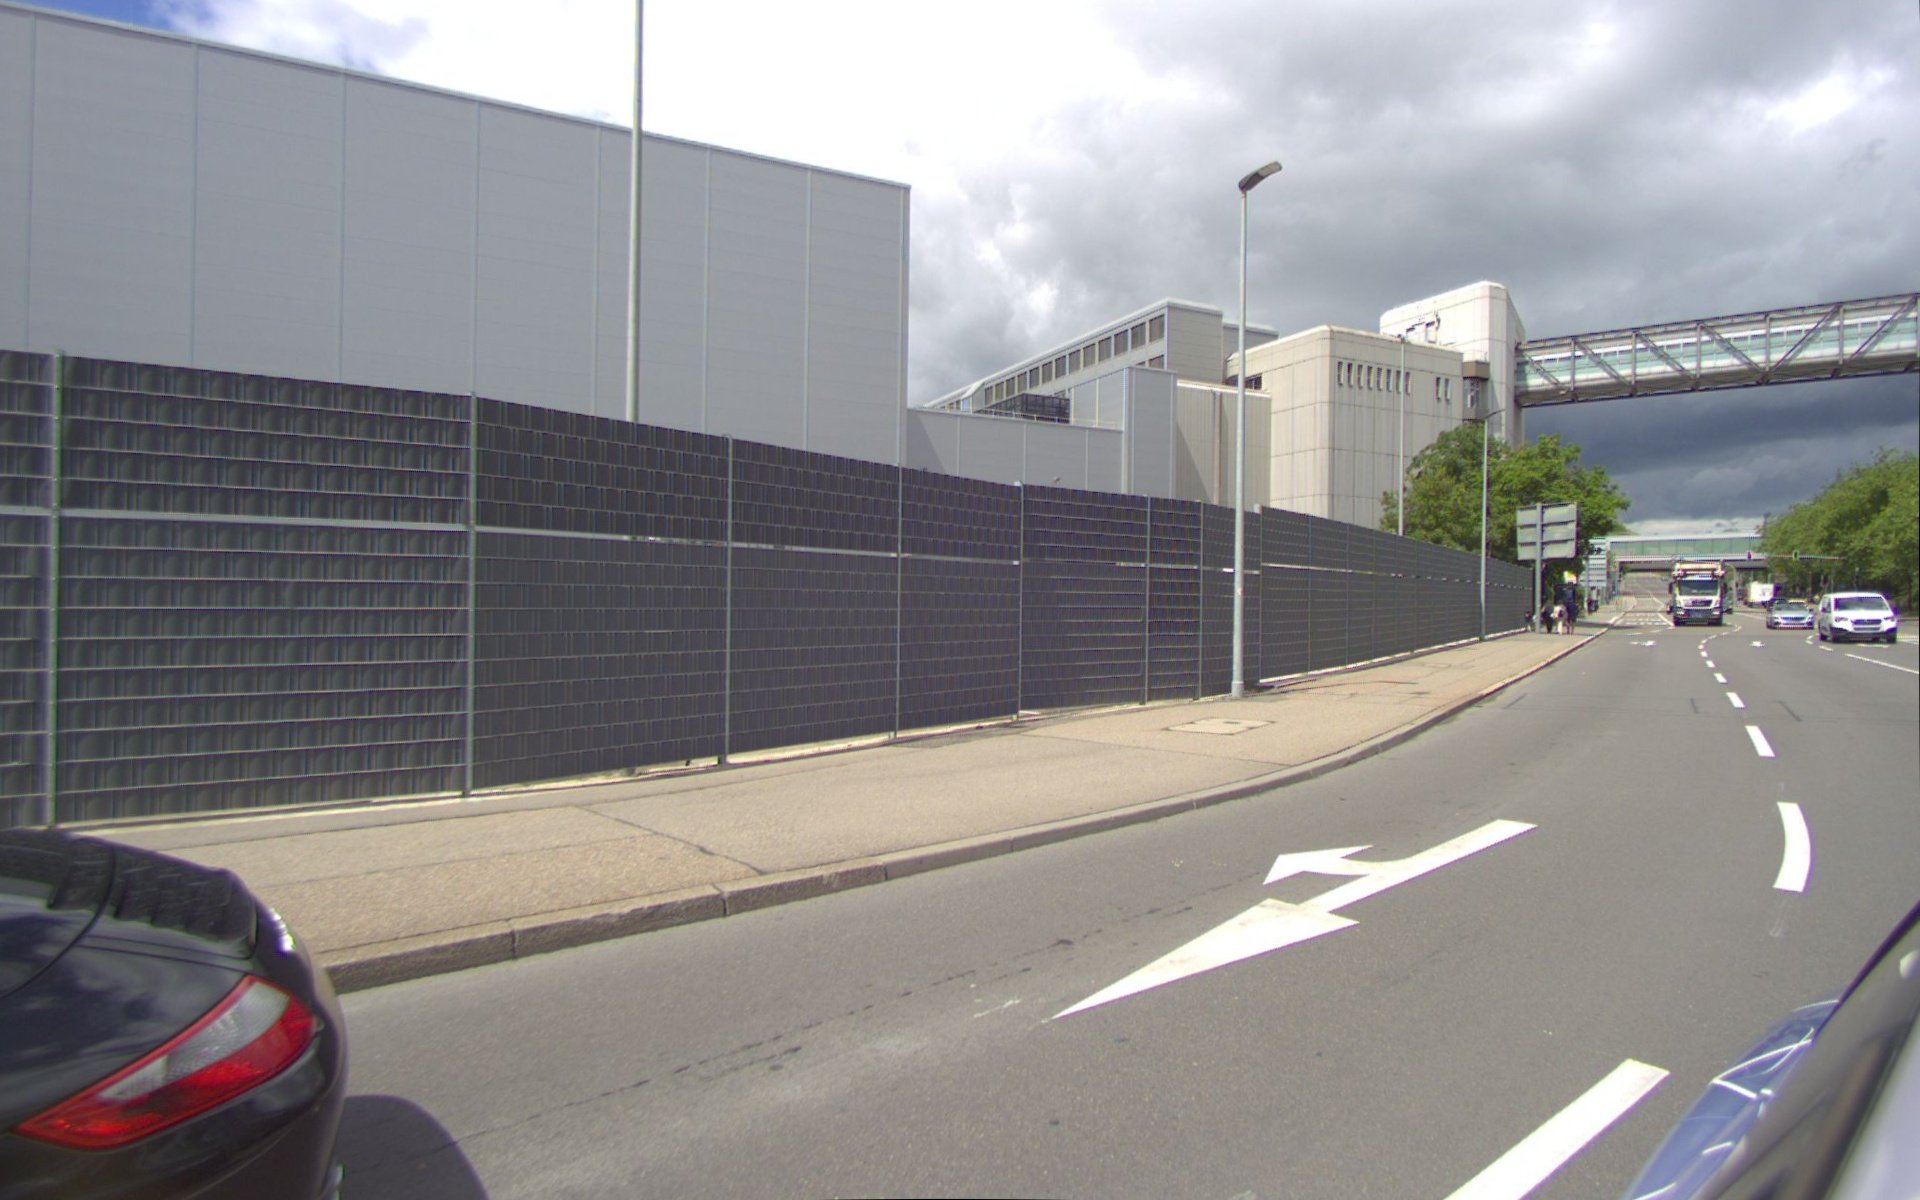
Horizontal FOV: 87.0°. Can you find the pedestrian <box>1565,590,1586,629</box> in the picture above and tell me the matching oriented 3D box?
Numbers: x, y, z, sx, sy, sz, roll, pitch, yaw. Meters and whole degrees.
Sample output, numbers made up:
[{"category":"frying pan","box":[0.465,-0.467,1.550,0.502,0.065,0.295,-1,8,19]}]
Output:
[{"category":"pedestrian","box":[28.138,0.421,46.242,0.791,1.742,0.723,-1,0,32]}]

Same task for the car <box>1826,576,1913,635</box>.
[{"category":"car","box":[33.337,0.232,37.210,1.814,2.039,4.335,0,-1,35]}]

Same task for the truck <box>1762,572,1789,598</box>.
[{"category":"truck","box":[104.237,-1.902,129.448,2.447,3.168,7.144,-1,0,38]}]

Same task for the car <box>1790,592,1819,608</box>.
[{"category":"car","box":[78.434,-0.018,94.008,1.686,1.432,4.093,3,2,35]}]

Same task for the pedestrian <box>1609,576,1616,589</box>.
[{"category":"pedestrian","box":[89.438,-2.384,138.659,0.725,1.788,1.003,-1,0,35]}]

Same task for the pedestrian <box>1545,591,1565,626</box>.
[{"category":"pedestrian","box":[28.103,0.399,47.805,0.791,1.617,0.723,-1,0,33]}]

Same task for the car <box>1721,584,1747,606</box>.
[{"category":"car","box":[74.518,-0.530,97.458,1.861,1.980,4.651,-2,0,36]}]

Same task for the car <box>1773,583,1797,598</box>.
[{"category":"car","box":[91.314,-1.086,112.027,1.735,1.600,4.212,3,2,35]}]

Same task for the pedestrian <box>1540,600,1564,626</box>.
[{"category":"pedestrian","box":[26.561,0.579,45.407,0.756,1.163,0.958,-1,0,39]}]

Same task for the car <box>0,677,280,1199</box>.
[{"category":"car","box":[-3.181,0.850,1.077,3.927,1.342,1.838,1,-2,-39]}]

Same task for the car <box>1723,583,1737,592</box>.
[{"category":"car","box":[133.630,-2.247,175.663,1.551,1.523,3.572,2,2,32]}]

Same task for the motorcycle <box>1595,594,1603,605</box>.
[{"category":"motorcycle","box":[64.512,-0.061,102.216,0.589,1.080,2.011,2,1,35]}]

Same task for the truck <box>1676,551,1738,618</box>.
[{"category":"truck","box":[47.372,-0.986,64.375,2.696,3.934,10.610,-1,0,34]}]

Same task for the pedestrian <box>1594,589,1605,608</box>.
[{"category":"pedestrian","box":[55.212,-0.137,87.369,0.806,1.665,0.986,2,2,34]}]

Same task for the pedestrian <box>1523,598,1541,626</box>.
[{"category":"pedestrian","box":[25.830,0.552,45.725,0.595,1.222,0.706,-1,0,39]}]

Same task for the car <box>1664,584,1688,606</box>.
[{"category":"car","box":[71.420,-0.513,100.974,1.861,1.980,4.651,-2,0,36]}]

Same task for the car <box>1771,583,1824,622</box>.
[{"category":"car","box":[45.131,0.113,54.600,1.862,1.980,4.651,-2,0,36]}]
